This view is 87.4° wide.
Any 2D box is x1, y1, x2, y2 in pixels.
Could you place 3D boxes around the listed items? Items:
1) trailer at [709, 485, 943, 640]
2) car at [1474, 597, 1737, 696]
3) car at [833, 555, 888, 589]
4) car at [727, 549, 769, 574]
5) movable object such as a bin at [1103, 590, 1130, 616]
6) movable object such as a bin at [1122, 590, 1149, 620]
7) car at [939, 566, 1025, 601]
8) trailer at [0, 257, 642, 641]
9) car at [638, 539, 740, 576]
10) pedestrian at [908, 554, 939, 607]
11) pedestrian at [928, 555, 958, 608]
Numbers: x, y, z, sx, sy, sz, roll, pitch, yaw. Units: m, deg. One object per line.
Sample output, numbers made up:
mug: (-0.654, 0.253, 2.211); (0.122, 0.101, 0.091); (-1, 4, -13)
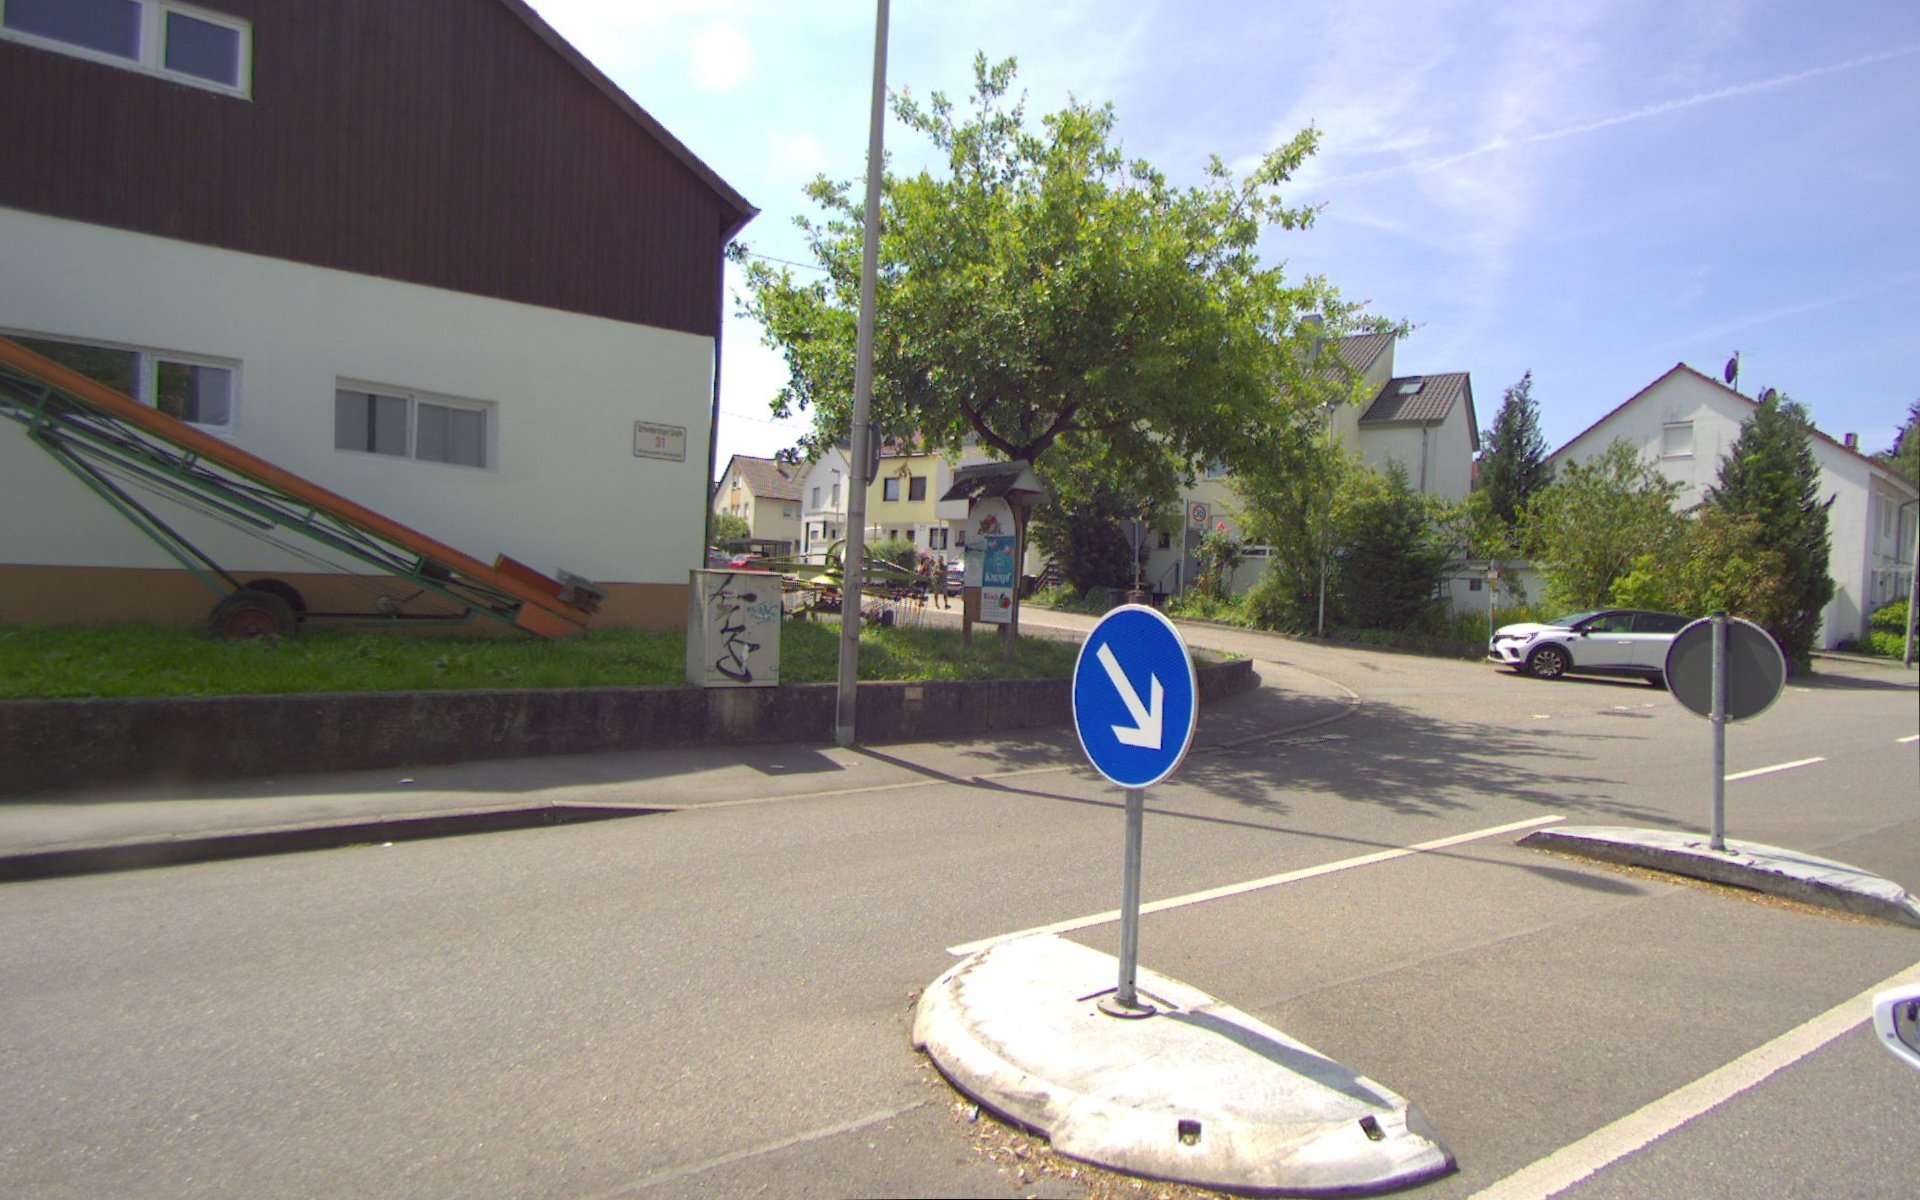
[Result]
trailer: (-1.721, -0.524, 13.877); (2.712, 1.714, 3.704); (3, 3, -4)
car: (13.156, 0.900, 20.741); (4.086, 1.550, 1.789); (4, 3, 12)
car: (-4.802, -1.378, 48.250); (1.512, 1.417, 3.116); (2, 3, -29)
car: (-13.265, -2.418, 62.805); (1.564, 1.400, 2.903); (1, 4, -34)
movable object such as a bin: (5.149, 0.107, 33.070); (0.596, 0.821, 0.636); (1, 2, -25)
movable object such as a bin: (5.593, 0.166, 32.068); (0.584, 0.902, 0.576); (1, 3, -25)
car: (1.020, -0.739, 45.007); (3.766, 1.400, 1.541); (1, 4, -42)
trailer: (-6.251, -1.130, 9.219); (6.107, 2.887, 1.702); (1, 1, -33)
car: (-12.577, -1.985, 46.599); (4.156, 1.433, 1.999); (5, 2, 22)
pedestrian: (-1.144, -0.613, 31.202); (0.591, 1.595, 0.714); (4, 0, -28)
pedestrian: (-0.542, -0.572, 31.401); (0.580, 1.595, 0.721); (4, 0, -27)
